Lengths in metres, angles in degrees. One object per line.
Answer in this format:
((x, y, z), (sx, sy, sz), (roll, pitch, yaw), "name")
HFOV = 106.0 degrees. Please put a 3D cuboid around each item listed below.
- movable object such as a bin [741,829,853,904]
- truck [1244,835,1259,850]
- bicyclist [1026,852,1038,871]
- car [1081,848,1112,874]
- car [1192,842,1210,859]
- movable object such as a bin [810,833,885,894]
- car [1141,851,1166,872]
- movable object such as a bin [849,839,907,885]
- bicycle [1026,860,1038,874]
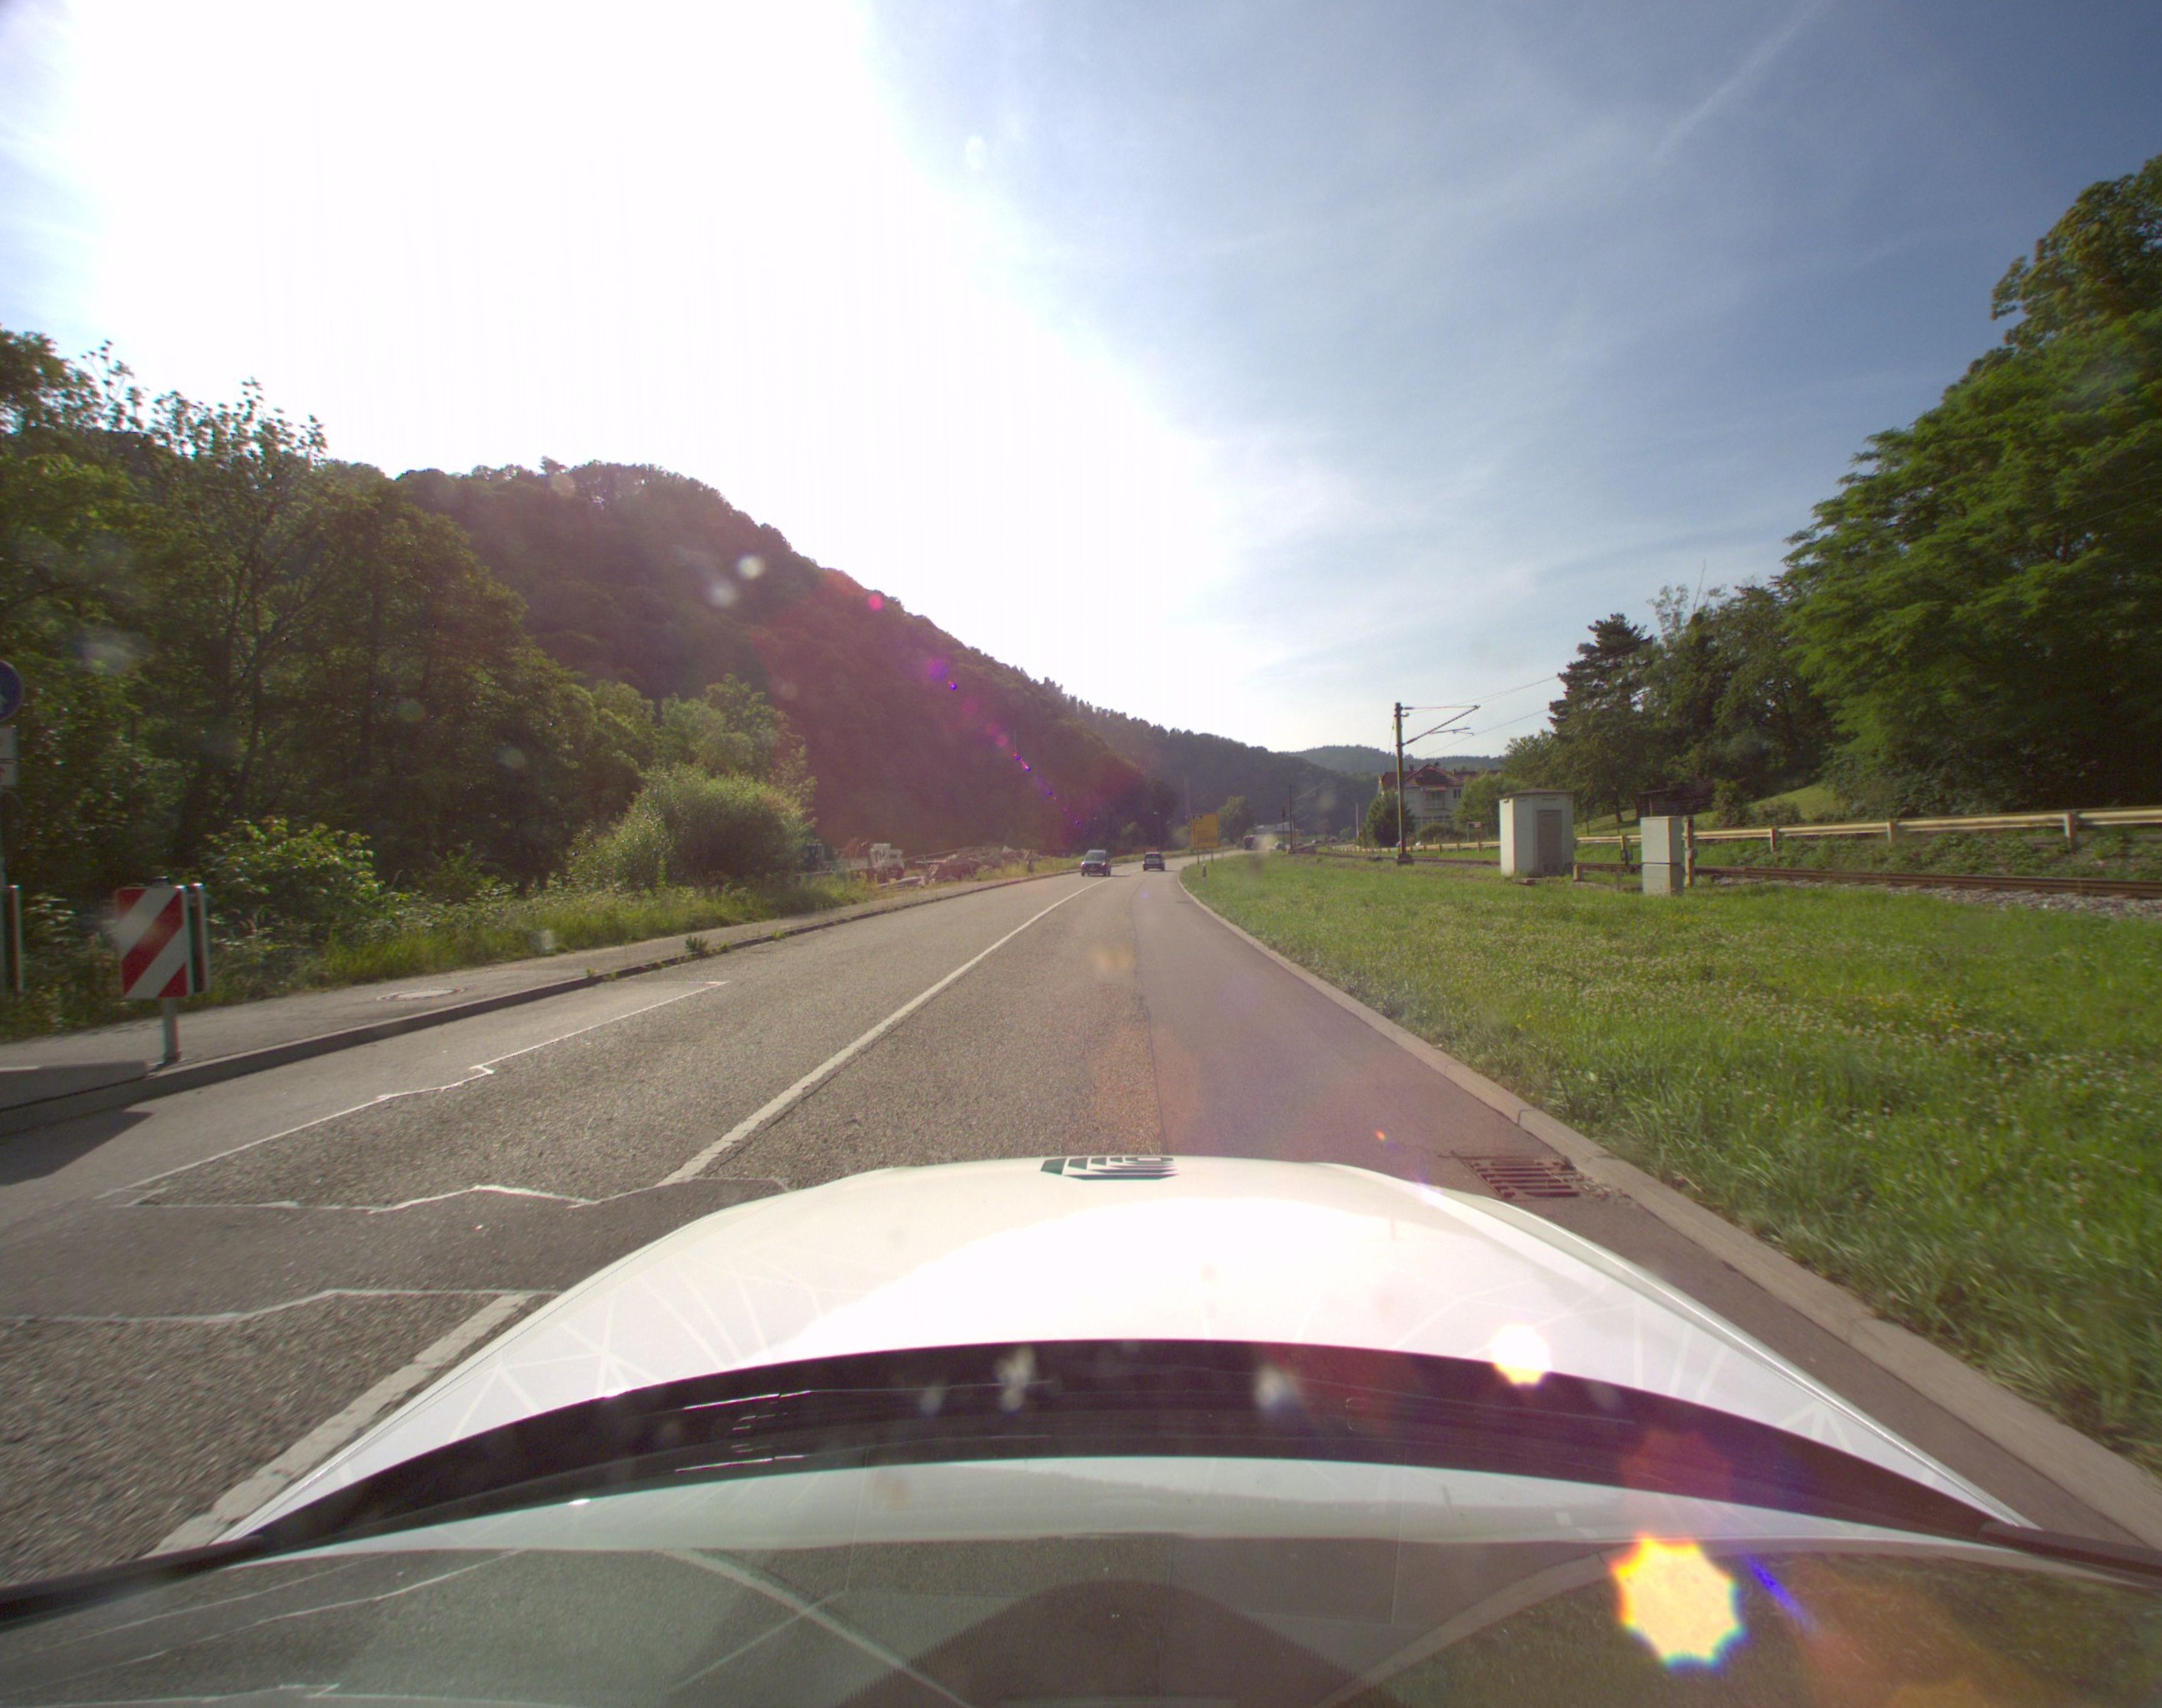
((-16.996, 0.690, 49.724), (2.688, 3.947, 9.997), (-3, 0, 3), "movable object such as a bin")
((45.372, -3.063, 216.947), (2.727, 3.835, 8.240), (0, 1, 20), "truck")
((-3.247, 0.481, 53.975), (0.681, 1.225, 0.859), (-1, 0, 4), "bicyclist")
((1.106, 0.454, 57.004), (1.842, 1.784, 4.691), (0, 0, 5), "car")
((15.040, -0.406, 102.096), (1.984, 2.013, 4.007), (-4, 0, 6), "car")
((-16.551, 0.655, 58.337), (2.710, 3.947, 7.236), (-3, 0, 3), "movable object such as a bin")
((6.499, 0.642, 72.759), (1.983, 1.723, 3.997), (-3, 0, 6), "car")
((-19.040, 0.761, 76.978), (2.886, 3.947, 7.815), (-3, 0, 3), "movable object such as a bin")
((-3.232, 0.859, 53.982), (0.537, 0.881, 2.255), (0, 0, 4), "bicycle")
